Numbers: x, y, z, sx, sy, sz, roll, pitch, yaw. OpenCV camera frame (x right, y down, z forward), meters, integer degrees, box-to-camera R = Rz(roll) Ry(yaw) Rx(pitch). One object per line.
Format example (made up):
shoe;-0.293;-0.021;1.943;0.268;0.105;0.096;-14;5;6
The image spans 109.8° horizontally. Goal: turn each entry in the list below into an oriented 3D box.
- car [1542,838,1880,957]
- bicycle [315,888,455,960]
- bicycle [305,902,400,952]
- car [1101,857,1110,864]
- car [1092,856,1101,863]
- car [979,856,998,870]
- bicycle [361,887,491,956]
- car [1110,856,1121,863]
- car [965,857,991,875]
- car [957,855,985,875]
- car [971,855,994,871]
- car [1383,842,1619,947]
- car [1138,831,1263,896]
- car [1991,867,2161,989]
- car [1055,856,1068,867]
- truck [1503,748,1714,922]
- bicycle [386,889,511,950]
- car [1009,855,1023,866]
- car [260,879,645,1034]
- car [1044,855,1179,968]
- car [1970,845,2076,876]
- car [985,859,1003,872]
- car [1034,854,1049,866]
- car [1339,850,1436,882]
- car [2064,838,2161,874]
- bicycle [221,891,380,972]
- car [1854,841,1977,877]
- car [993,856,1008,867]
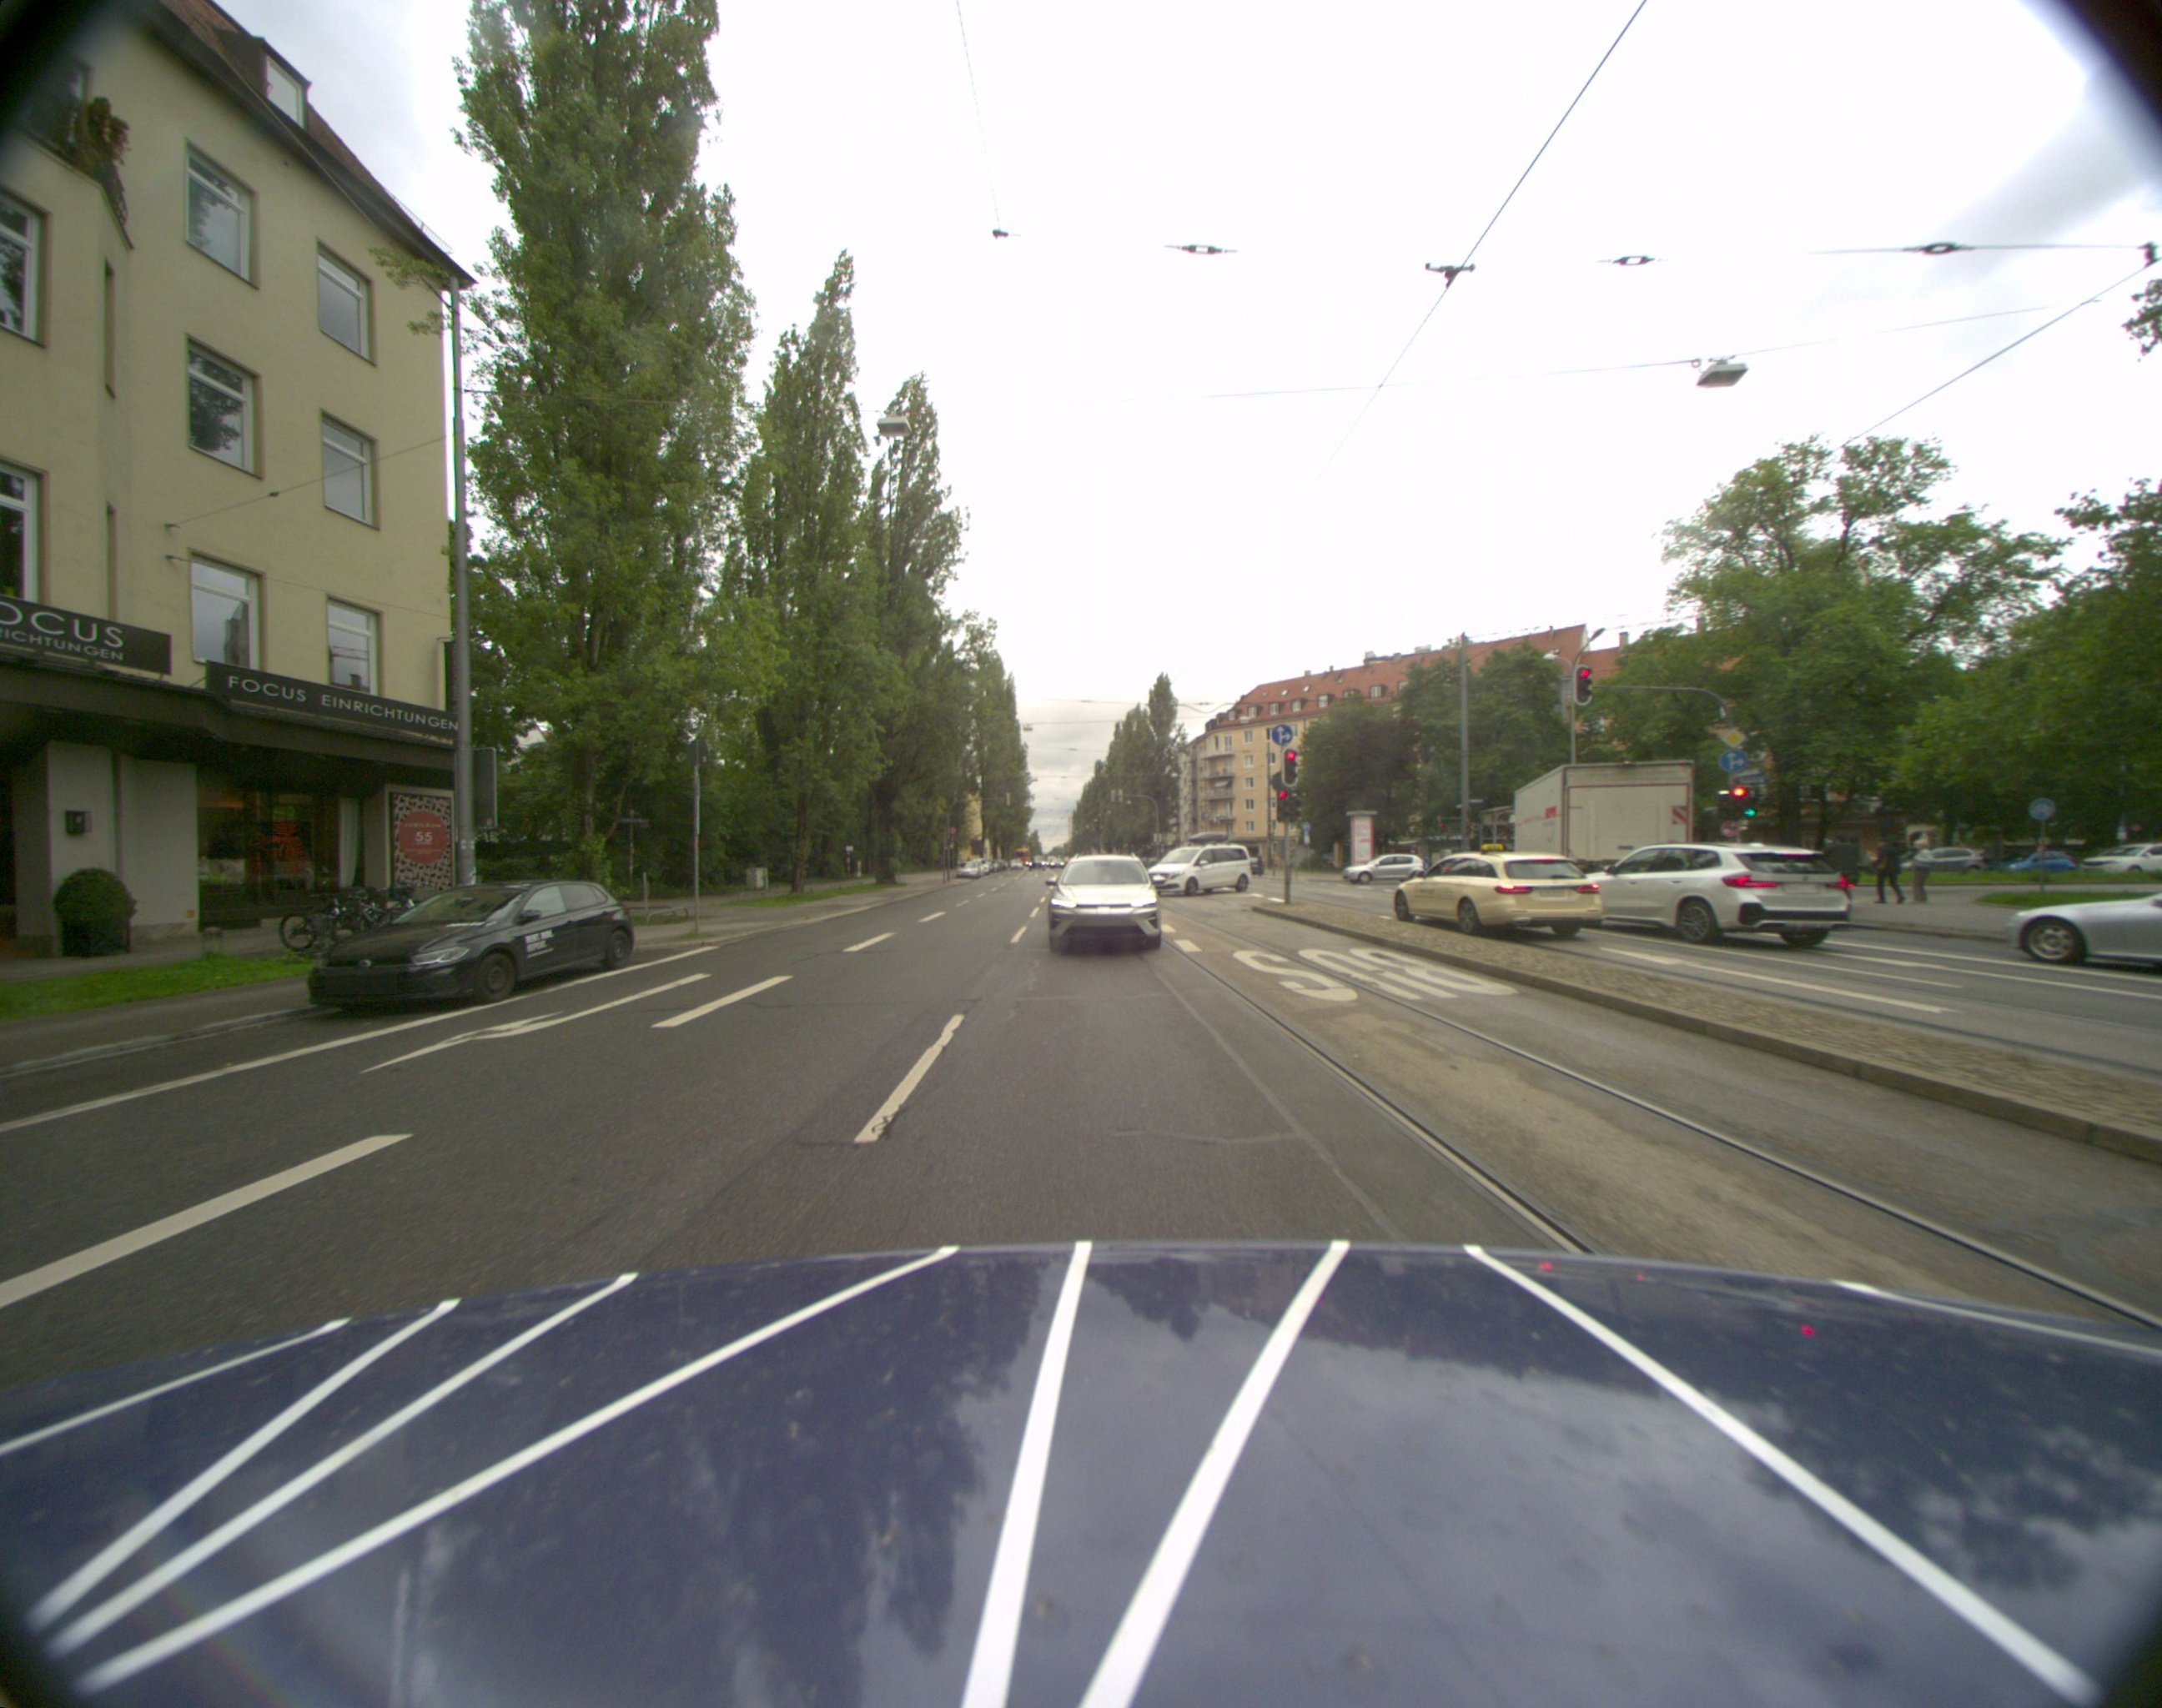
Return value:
car;10.464;0.610;13.283;1.919;1.673;4.891;-1;0;1
bicycle;-11.972;1.193;13.096;1.888;1.178;0.496;-1;1;-1
bicycle;-13.633;1.357;14.237;1.370;0.878;0.389;-1;1;-1
car;5.840;1.547;182.799;1.818;1.707;3.999;-1;-2;-5
car;4.363;1.571;213.875;1.999;1.695;3.999;-1;-2;-5
car;-10.148;0.975;83.616;1.786;1.477;4.138;-1;0;-2
bicycle;-11.869;1.210;13.797;1.888;1.178;0.496;-1;1;-1
car;7.765;1.319;171.874;1.818;1.461;3.999;-1;-2;-5
car;-9.179;1.052;67.881;1.785;1.477;4.258;-1;0;-1
car;-8.916;0.869;62.011;1.786;1.477;4.351;-1;0;-2
car;-9.431;0.860;72.938;1.786;1.477;4.138;-1;0;-2
car;7.575;0.630;14.389;1.826;1.629;4.891;-1;0;1
car;4.725;0.330;29.627;4.954;2.337;1.909;-1;1;-38
car;13.569;0.918;8.572;1.735;1.403;4.103;2;0;2
car;-2.770;1.056;106.156;1.786;1.477;4.138;-1;0;-2
truck;15.326;-0.454;23.259;2.742;3.957;11.734;1;1;22
bicycle;-11.902;1.232;14.325;1.888;1.075;0.496;-1;1;-1
car;-9.296;0.856;108.640;1.786;1.477;4.138;-1;0;-2
car;-7.801;1.152;10.063;1.804;1.457;3.999;-1;0;-2
car;0.325;0.824;12.541;1.775;1.515;4.208;-1;-1;-4
car;49.706;0.326;40.139;3.658;1.540;1.525;-1;0;2
car;-10.391;1.325;90.632;1.786;1.477;4.138;-1;0;-2
car;-4.811;0.705;92.232;1.786;1.477;4.138;-1;0;-2
car;15.488;0.619;38.544;4.207;1.515;1.776;-1;-1;-4
car;55.646;0.072;40.104;5.019;1.845;1.850;-1;0;2
bicycle;-12.031;1.181;11.736;1.888;1.178;0.496;-1;1;-1
car;44.233;0.234;40.331;4.552;1.809;1.937;-1;0;-2
car;-11.434;1.092;107.629;1.786;1.477;4.138;-1;0;-2
